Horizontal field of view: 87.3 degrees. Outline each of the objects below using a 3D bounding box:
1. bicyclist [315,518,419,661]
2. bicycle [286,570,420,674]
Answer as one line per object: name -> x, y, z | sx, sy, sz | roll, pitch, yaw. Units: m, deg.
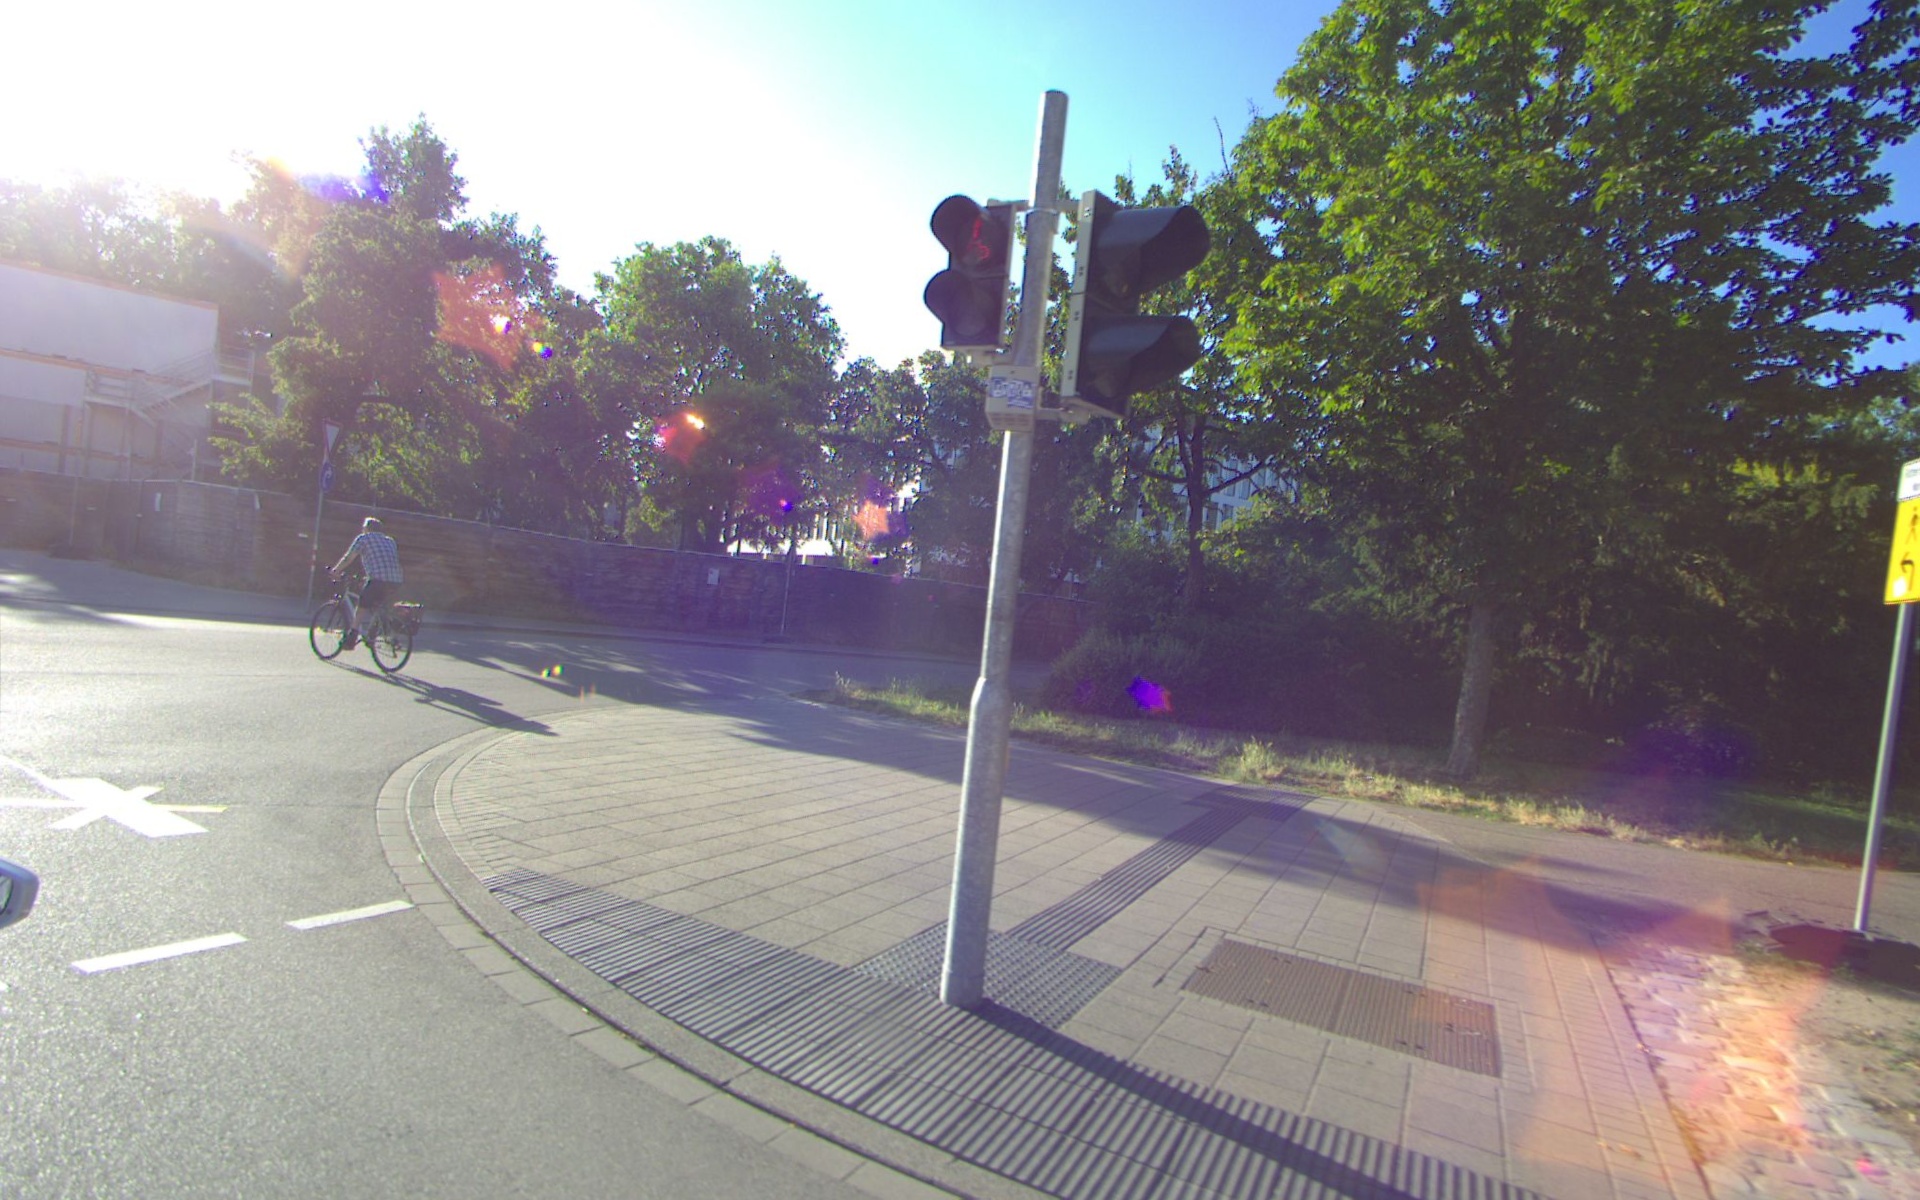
bicyclist -> -7.254, -0.120, 12.317 | 0.887, 1.635, 0.585 | 6, 1, 27
bicycle -> -7.487, 0.253, 12.378 | 1.878, 1.074, 0.428 | 6, 0, 28
